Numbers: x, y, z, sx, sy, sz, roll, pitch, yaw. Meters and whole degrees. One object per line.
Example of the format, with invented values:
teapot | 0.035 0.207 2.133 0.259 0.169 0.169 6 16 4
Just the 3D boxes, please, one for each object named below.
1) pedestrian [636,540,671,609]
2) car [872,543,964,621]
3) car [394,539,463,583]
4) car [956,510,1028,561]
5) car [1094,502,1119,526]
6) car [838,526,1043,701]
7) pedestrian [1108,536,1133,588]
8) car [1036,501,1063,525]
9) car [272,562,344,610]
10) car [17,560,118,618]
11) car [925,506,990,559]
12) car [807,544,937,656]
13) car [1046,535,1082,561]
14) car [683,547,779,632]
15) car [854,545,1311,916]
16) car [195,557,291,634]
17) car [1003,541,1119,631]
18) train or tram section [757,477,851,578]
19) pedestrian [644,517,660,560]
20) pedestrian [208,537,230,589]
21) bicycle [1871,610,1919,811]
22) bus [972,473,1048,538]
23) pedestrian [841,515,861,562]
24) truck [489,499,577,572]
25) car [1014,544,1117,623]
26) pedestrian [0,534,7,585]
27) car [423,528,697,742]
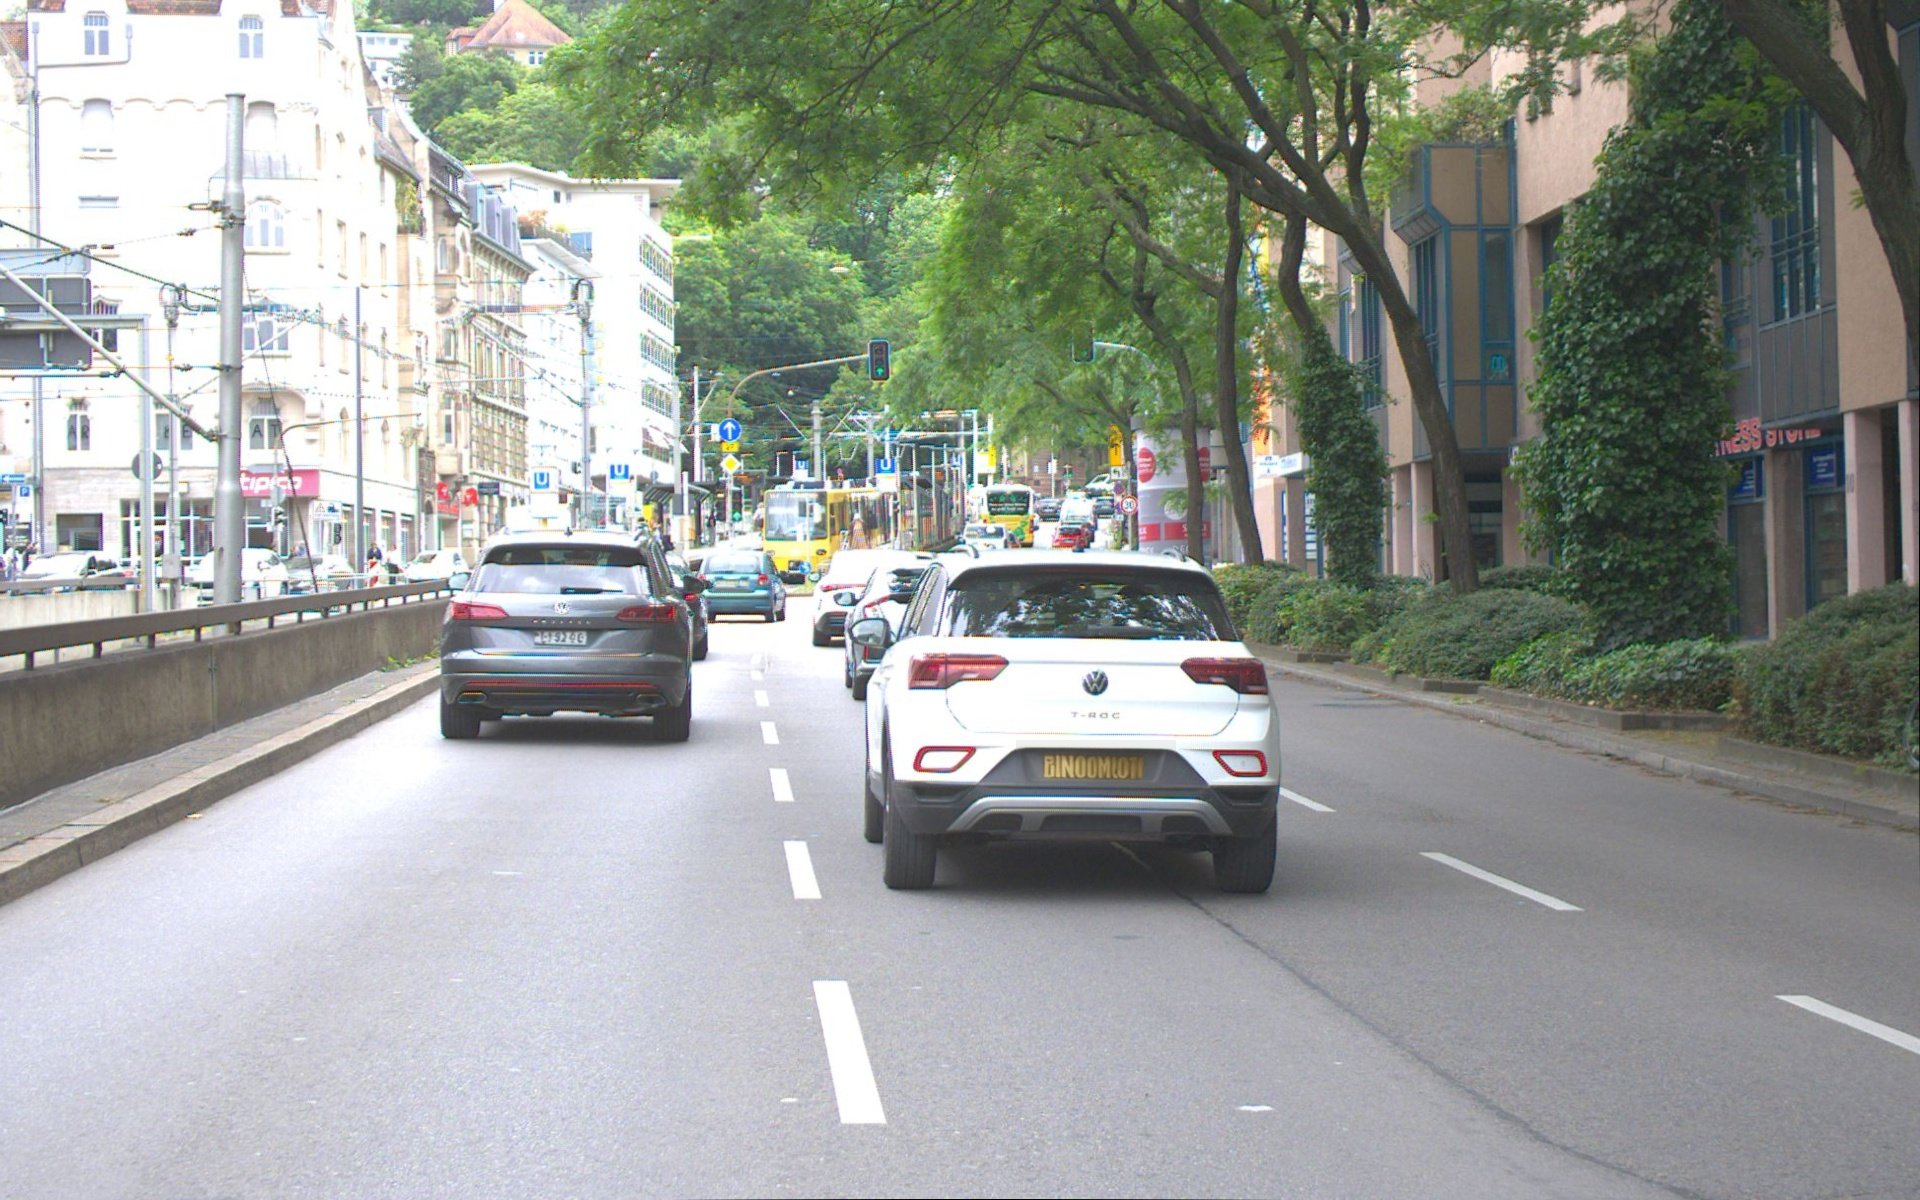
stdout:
pedestrian | -7.621 -0.631 85.512 0.764 1.715 0.637 0 1 3
car | -1.161 -0.506 92.387 2.364 2.007 5.148 1 1 -2
car | -19.633 -1.441 127.178 1.749 1.555 4.514 1 1 1
car | 1.333 -2.595 139.802 2.365 2.007 5.147 1 1 6
car | 9.978 -5.821 233.616 1.673 1.555 3.678 1 1 3
car | -0.263 0.111 35.588 1.884 1.678 4.162 1 1 -3
pedestrian | 5.579 -1.317 119.343 0.693 1.771 0.689 -5 1 -1
car | 5.906 -5.750 227.354 1.673 1.555 3.678 1 1 3
car | -21.336 -0.475 112.563 1.664 1.496 4.043 -1 1 -1
car | -24.049 -0.315 92.780 1.664 1.496 4.414 -1 1 -1
car | -0.058 -2.235 114.475 1.885 1.678 4.161 1 1 3
car | -1.431 -0.024 54.447 1.884 1.678 4.162 1 1 -3
car | 4.866 -2.443 160.670 1.582 1.168 3.678 1 1 3
car | -4.679 -0.227 70.450 1.884 1.678 4.162 1 1 -3
car | 0.465 0.544 16.875 1.837 1.578 4.157 1 1 -3
car | -18.421 -0.139 88.491 1.833 1.836 4.606 3 0 -6
car | 2.313 -0.344 79.939 2.364 2.007 5.148 1 1 -2
train or tram section | -5.784 -2.710 128.066 2.835 3.666 5.751 1 1 4
pedestrian | -12.069 -2.412 134.763 0.635 1.705 0.690 0 1 -5
pedestrian | -25.218 -1.248 117.048 0.575 1.774 0.511 0 1 8
bicycle | 5.993 0.673 20.612 0.361 1.197 1.571 -1 1 -12
bus | 2.615 -4.753 175.896 3.372 3.054 13.323 1 1 3
pedestrian | -3.954 -2.224 124.803 0.685 1.705 0.712 0 1 3
truck | -18.624 -2.781 150.219 2.267 3.066 7.373 1 1 5
car | 2.748 -0.448 90.864 2.364 2.007 5.148 1 1 -2
pedestrian | -32.619 -1.361 115.818 0.782 1.699 0.653 0 1 9
car | -3.201 0.250 28.224 1.993 1.630 4.000 0 0 -3
